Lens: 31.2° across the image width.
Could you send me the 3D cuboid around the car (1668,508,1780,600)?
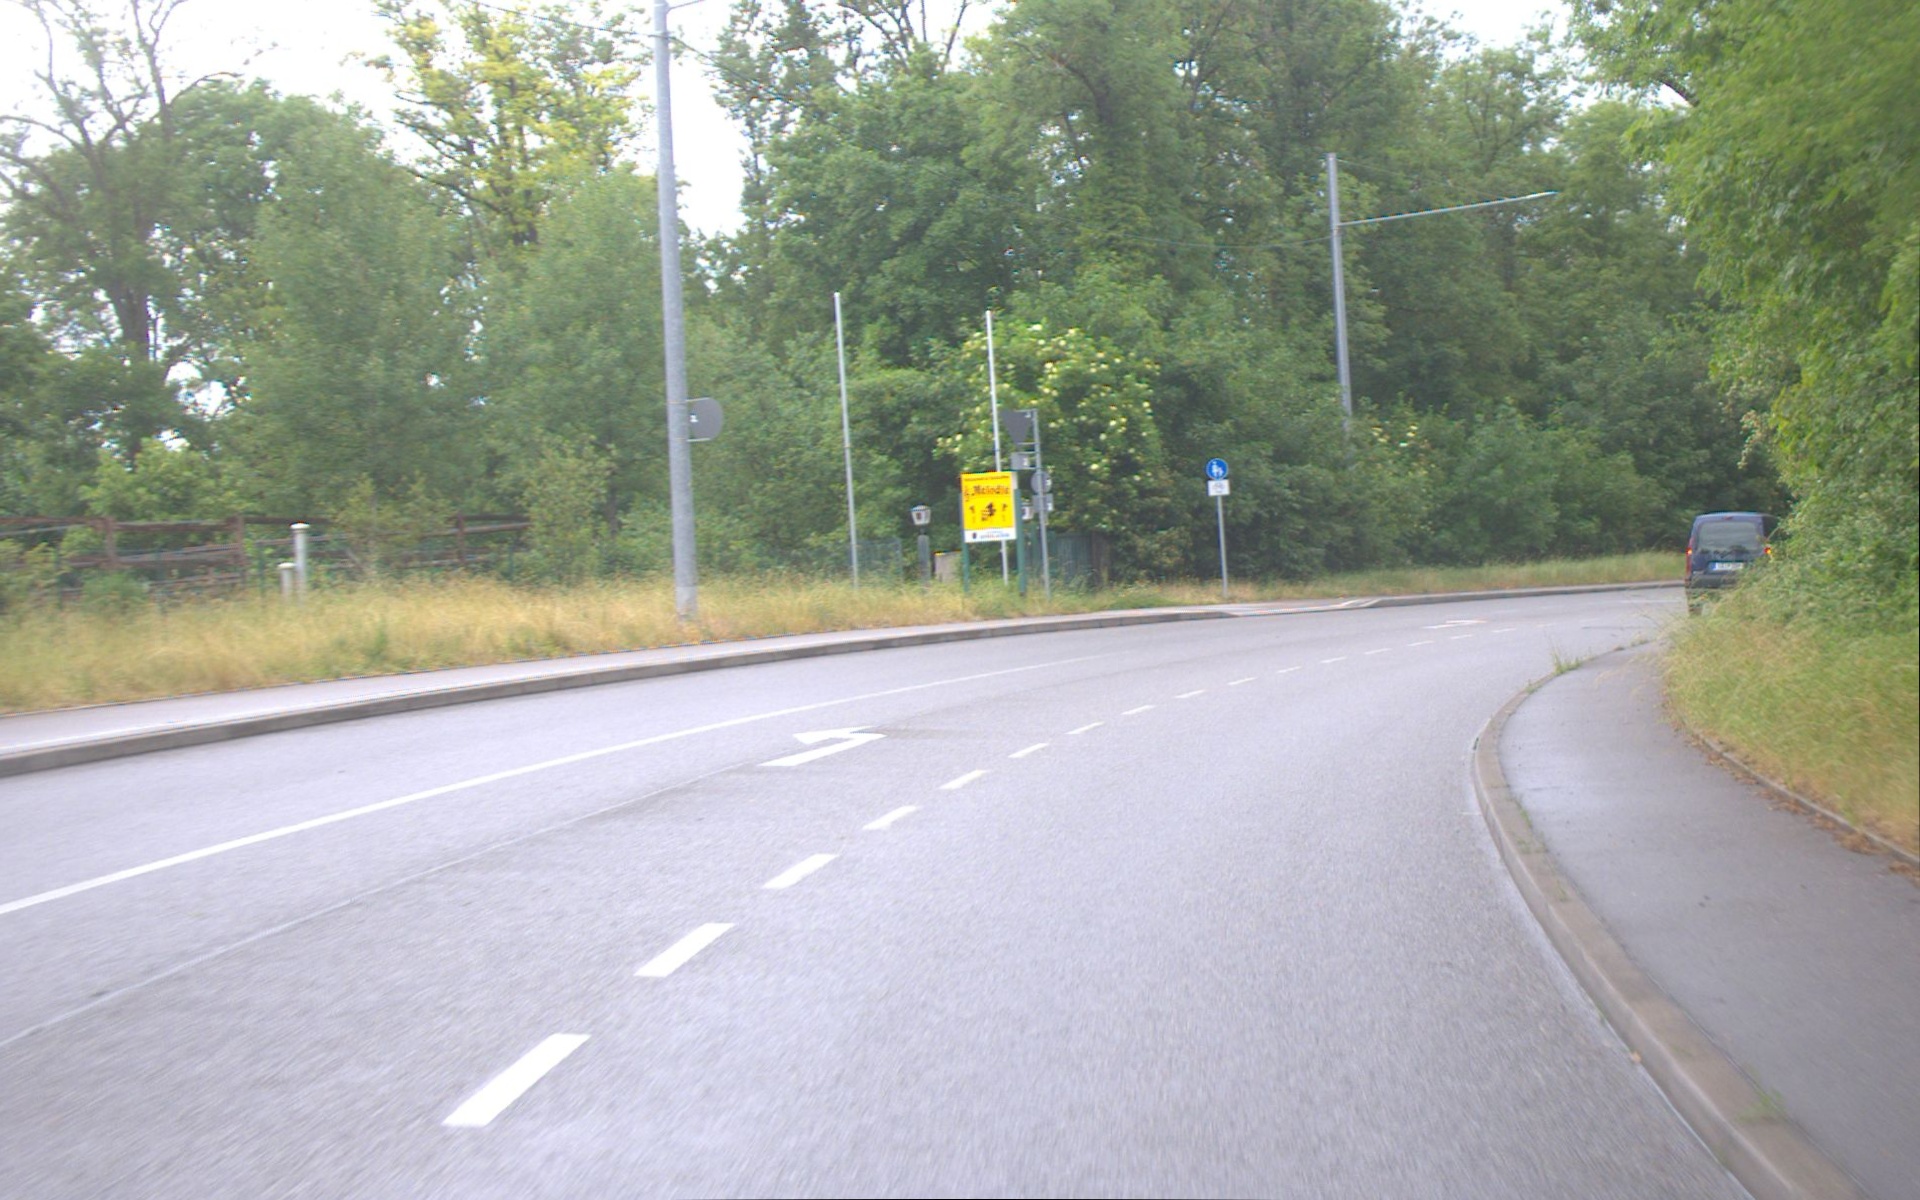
[{"bbox_3d":[13.741,-0.840,61.710,1.669,1.588,3.680,0,1,17],"label":"car"}]
